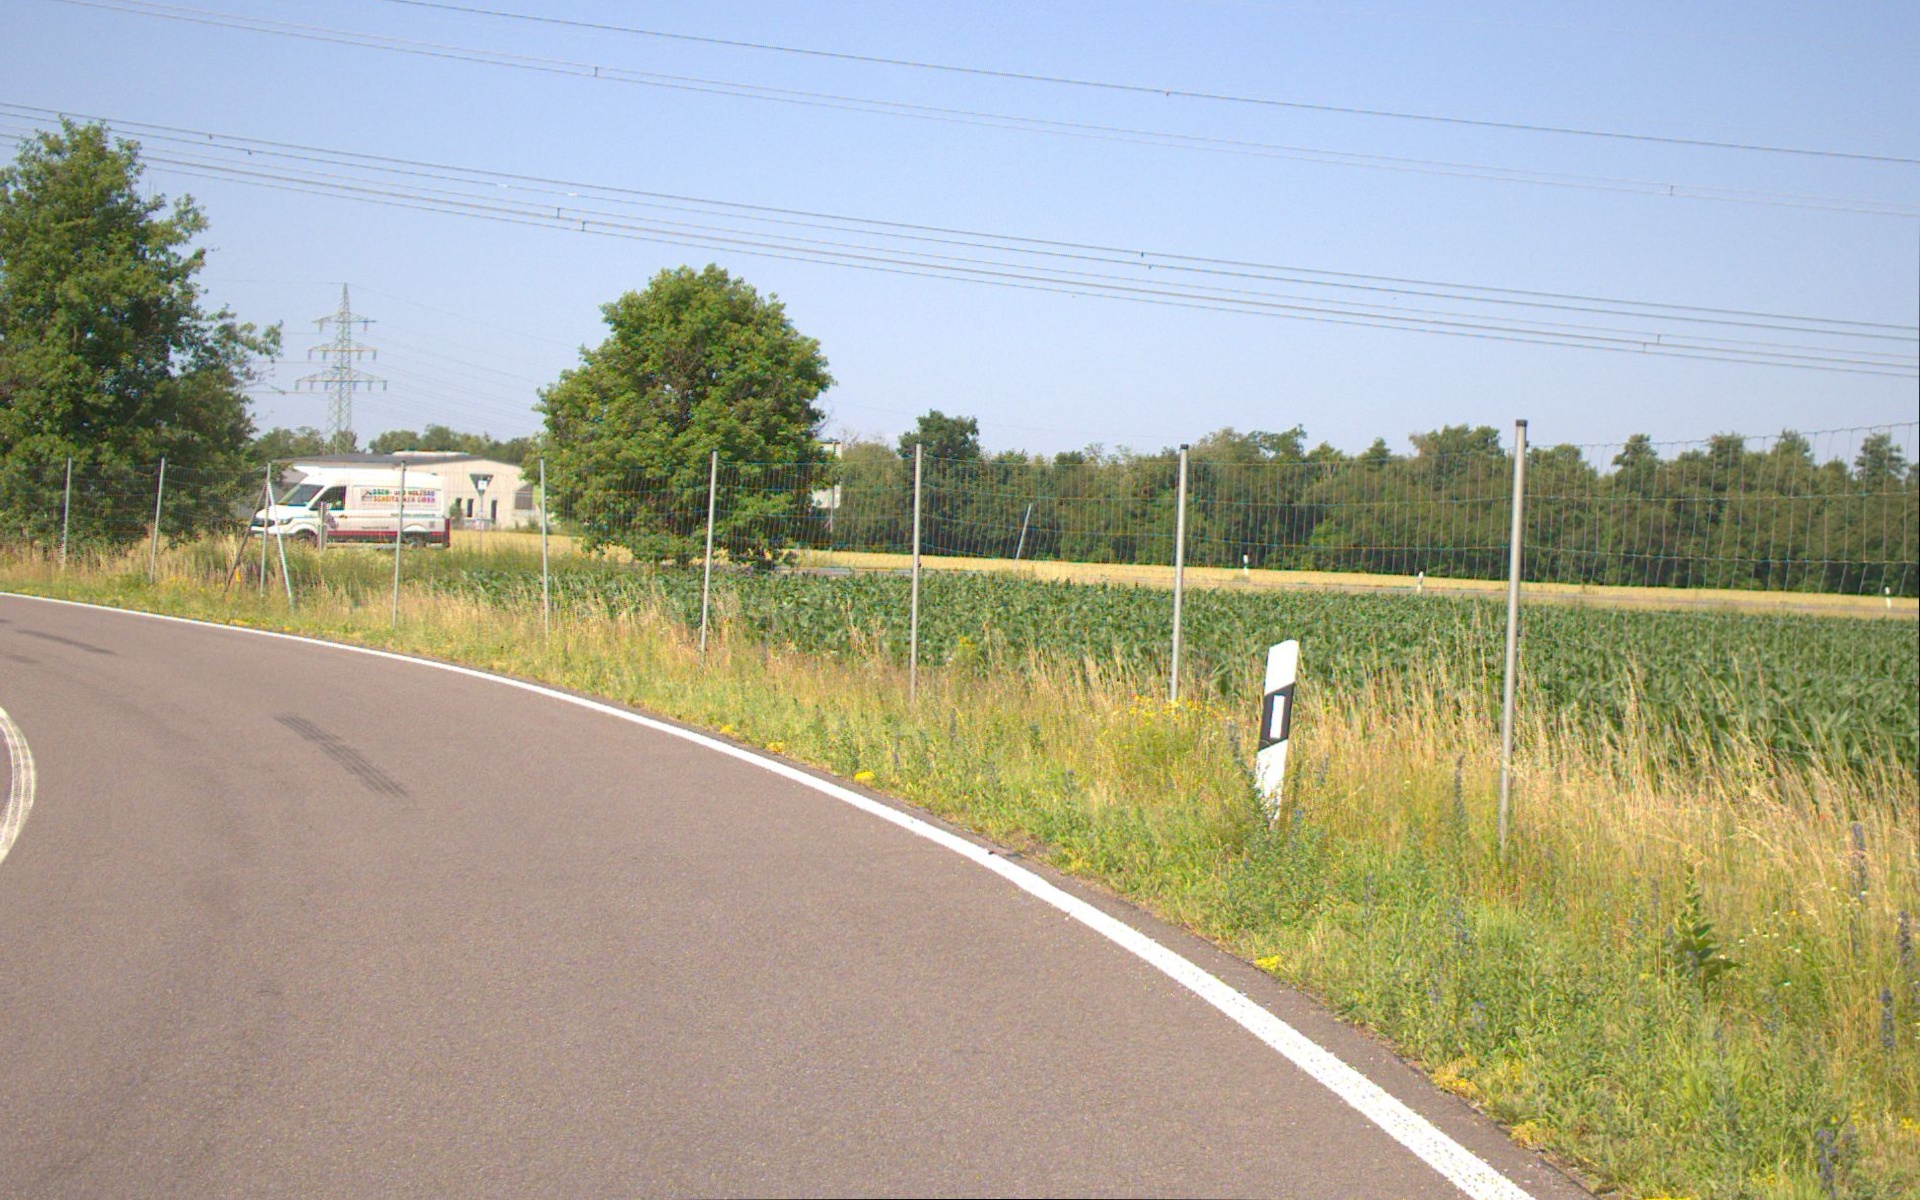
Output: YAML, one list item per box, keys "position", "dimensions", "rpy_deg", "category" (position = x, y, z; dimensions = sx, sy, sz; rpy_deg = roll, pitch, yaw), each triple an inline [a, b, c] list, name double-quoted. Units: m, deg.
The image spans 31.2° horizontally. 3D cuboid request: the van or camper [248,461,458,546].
- position: [-17.985, -2.853, 101.992]
  dimensions: [5.751, 2.259, 2.000]
  rpy_deg: [2, 1, -36]
  category: "van or camper"
